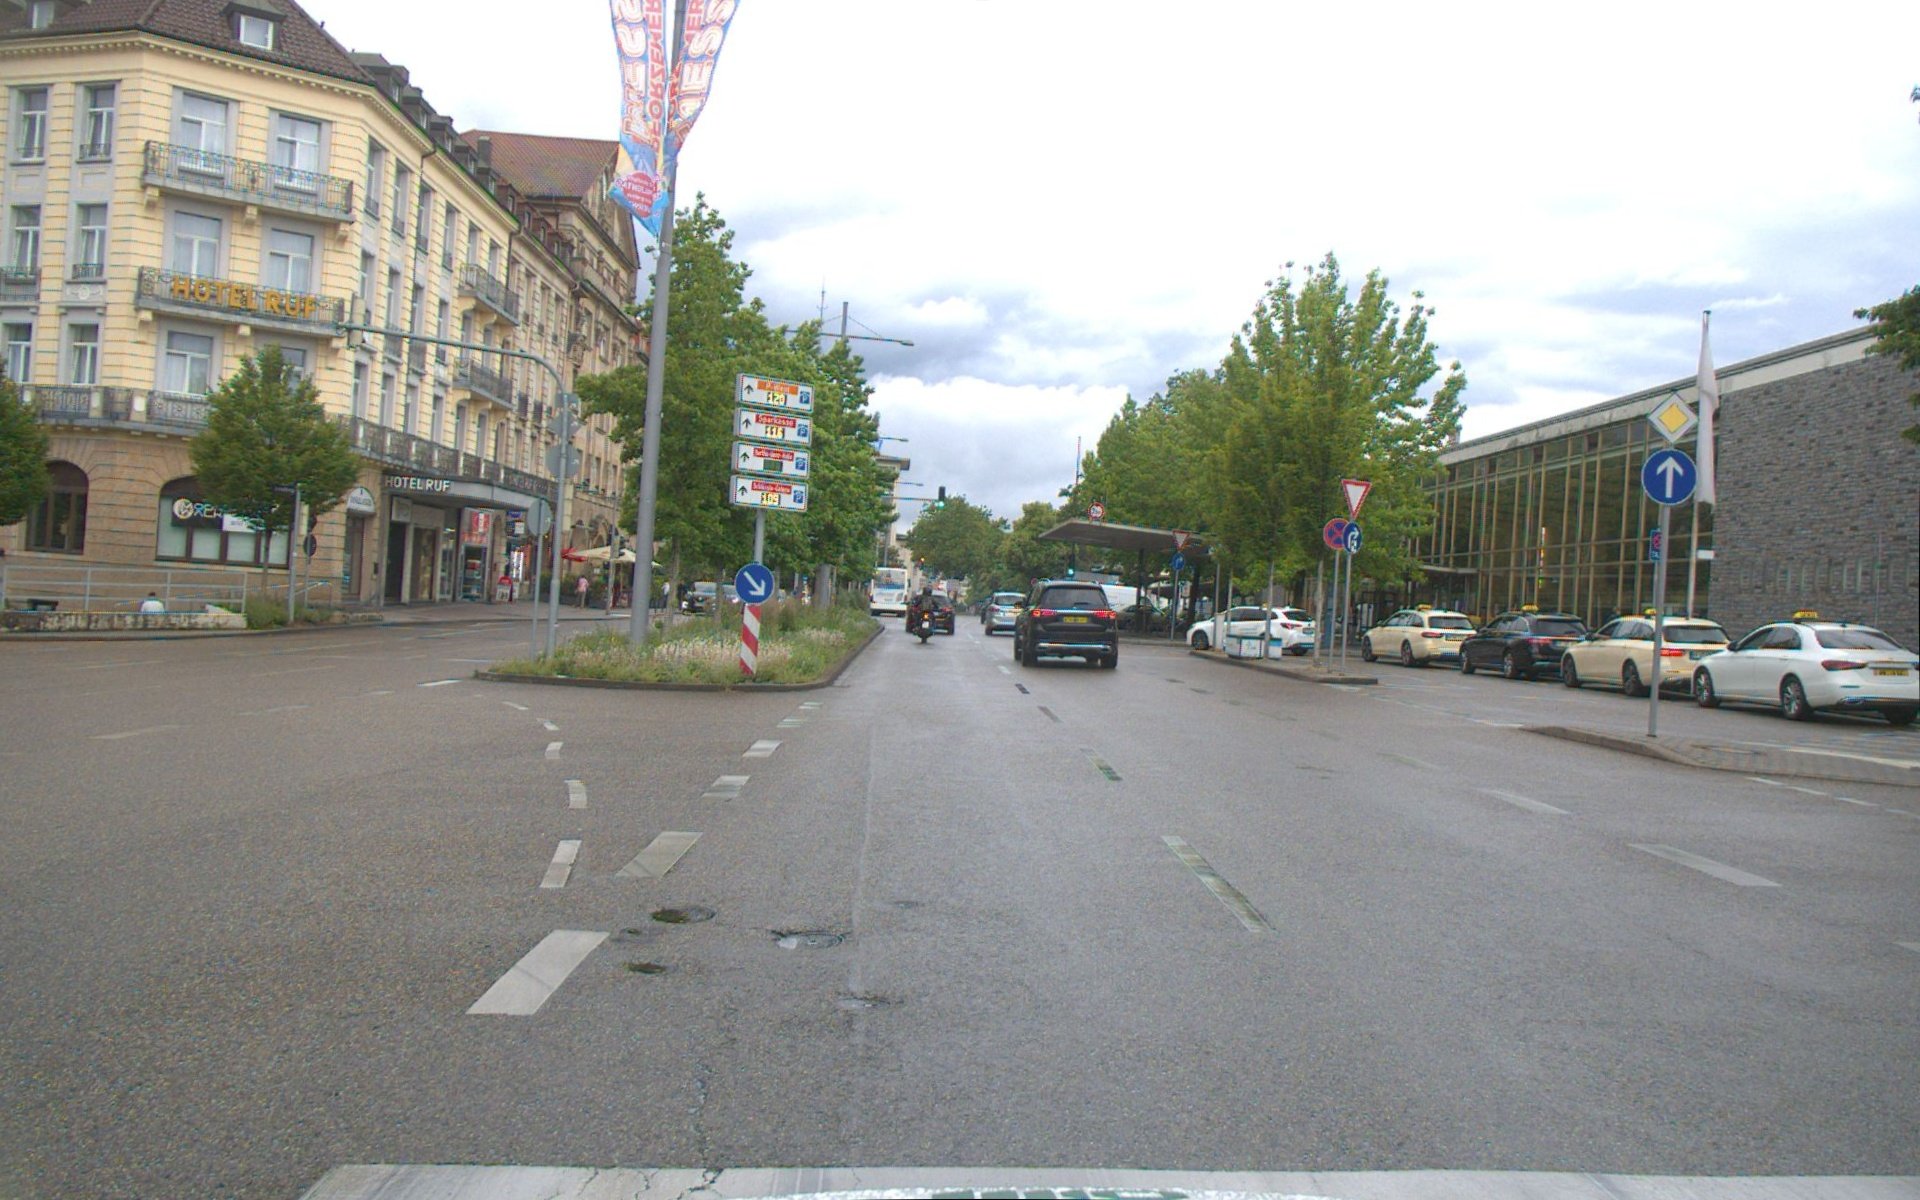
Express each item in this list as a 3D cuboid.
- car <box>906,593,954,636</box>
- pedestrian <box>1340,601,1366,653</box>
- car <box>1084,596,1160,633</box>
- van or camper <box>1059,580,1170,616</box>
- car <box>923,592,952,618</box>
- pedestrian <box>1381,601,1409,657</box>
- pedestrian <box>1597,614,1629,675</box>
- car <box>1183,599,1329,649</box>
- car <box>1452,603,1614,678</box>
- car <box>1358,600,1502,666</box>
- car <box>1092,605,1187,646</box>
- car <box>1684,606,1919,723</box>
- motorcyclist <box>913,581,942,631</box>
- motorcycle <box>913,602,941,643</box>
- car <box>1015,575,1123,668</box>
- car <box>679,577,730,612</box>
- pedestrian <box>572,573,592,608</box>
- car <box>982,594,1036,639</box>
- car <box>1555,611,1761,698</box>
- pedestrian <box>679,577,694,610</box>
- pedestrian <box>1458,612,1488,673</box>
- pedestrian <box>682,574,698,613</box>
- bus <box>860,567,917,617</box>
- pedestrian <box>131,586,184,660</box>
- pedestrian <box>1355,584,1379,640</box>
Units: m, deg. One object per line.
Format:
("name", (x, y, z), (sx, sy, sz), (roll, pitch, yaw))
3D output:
("car", (-1.089, 0.518, 60.108), (1.673, 1.473, 3.999), (1, 0, -1))
("pedestrian", (15.720, 1.075, 66.164), (0.754, 2.049, 0.828), (1, 0, -3))
("car", (9.465, 0.832, 96.783), (3.929, 2.049, 1.988), (2, 0, -21))
("van or camper", (9.656, -0.096, 103.110), (6.675, 2.049, 2.364), (1, -1, -27))
("car", (-1.322, 0.297, 98.259), (1.673, 1.500, 3.999), (1, 0, -1))
("pedestrian", (16.124, 1.054, 61.374), (0.754, 2.049, 0.828), (1, 0, -3))
("pedestrian", (18.304, 1.244, 46.382), (0.553, 1.675, 0.715), (1, 0, -6))
("car", (9.106, 0.734, 51.206), (1.764, 1.409, 4.303), (1, 0, -41))
("car", (13.051, 0.880, 38.003), (1.875, 1.551, 4.740), (1, 0, -3))
("car", (12.550, 0.845, 44.480), (1.956, 1.628, 4.814), (1, 0, -8))
("car", (8.940, 1.291, 82.398), (4.273, 1.890, 1.988), (2, 0, -21))
("car", (13.372, 0.944, 26.066), (1.739, 1.617, 4.614), (1, 0, -2))
("motorcyclist", (-0.915, 0.165, 46.659), (0.749, 1.355, 0.866), (2, 0, -1))
("motorcycle", (-0.919, 0.627, 46.559), (0.750, 1.095, 2.175), (2, 0, -1))
("car", (2.296, 0.420, 36.035), (1.953, 1.837, 4.689), (1, 0, -1))
("car", (-11.818, -0.254, 76.749), (1.735, 1.557, 4.078), (1, 0, -1))
("pedestrian", (-16.772, -0.408, 73.386), (0.656, 1.537, 0.512), (1, 0, -39))
("car", (1.810, 0.583, 62.106), (1.813, 1.594, 3.999), (1, 0, -1))
("car", (13.245, 0.986, 31.720), (1.809, 1.477, 4.664), (1, 0, -2))
("pedestrian", (-14.486, -0.358, 87.617), (0.661, 1.731, 0.633), (1, 0, -1))
("pedestrian", (14.821, 1.227, 47.796), (0.553, 1.739, 0.715), (2, 0, -6))
("pedestrian", (-14.278, -0.328, 87.577), (0.742, 2.049, 0.832), (2, 0, -7))
("bus", (-5.013, -0.549, 116.934), (3.685, 3.265, 15.518), (1, 0, -2))
("pedestrian", (-21.385, 0.608, 44.087), (0.845, 1.911, 1.022), (2, 0, -1))
("pedestrian", (18.196, 0.522, 74.001), (0.825, 2.453, 0.862), (1, 0, 1))
